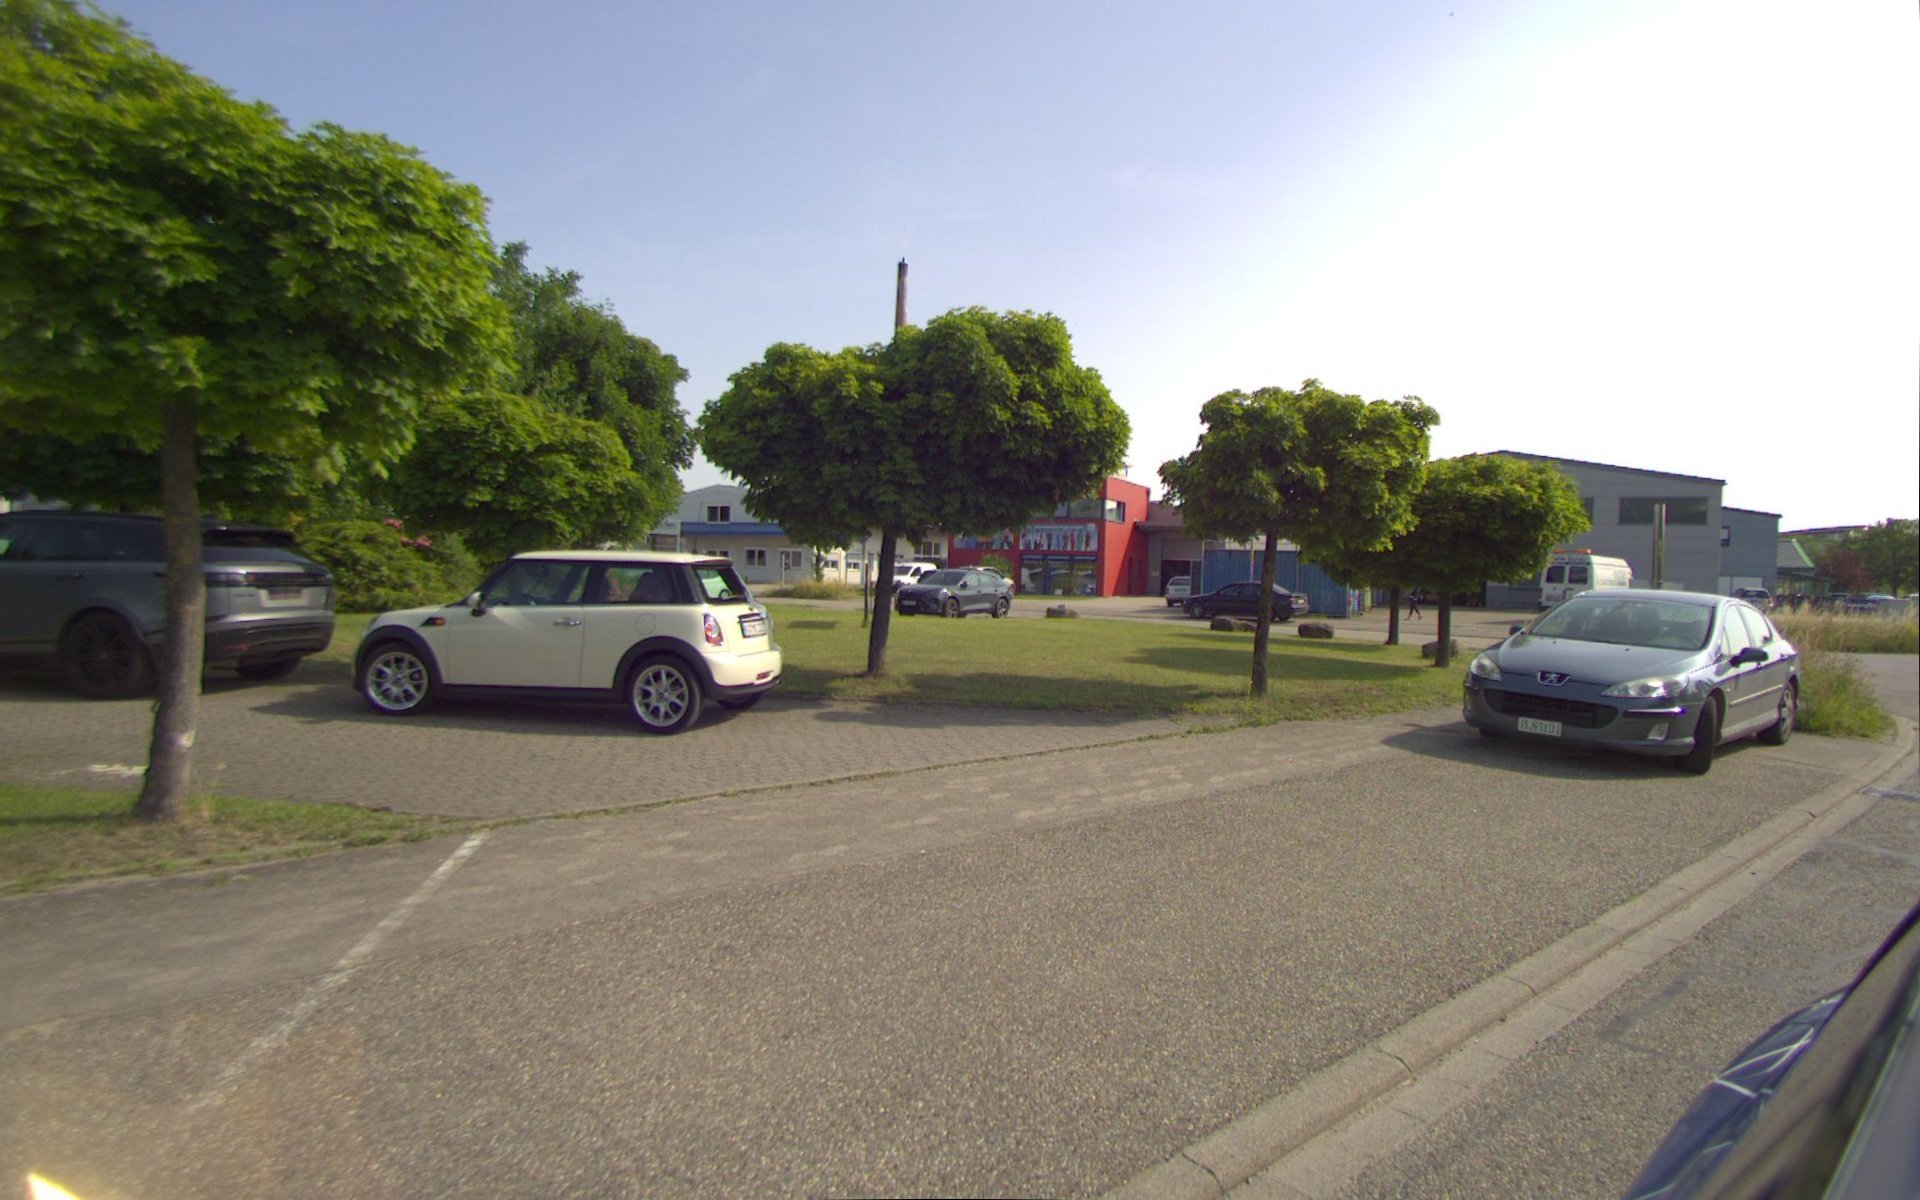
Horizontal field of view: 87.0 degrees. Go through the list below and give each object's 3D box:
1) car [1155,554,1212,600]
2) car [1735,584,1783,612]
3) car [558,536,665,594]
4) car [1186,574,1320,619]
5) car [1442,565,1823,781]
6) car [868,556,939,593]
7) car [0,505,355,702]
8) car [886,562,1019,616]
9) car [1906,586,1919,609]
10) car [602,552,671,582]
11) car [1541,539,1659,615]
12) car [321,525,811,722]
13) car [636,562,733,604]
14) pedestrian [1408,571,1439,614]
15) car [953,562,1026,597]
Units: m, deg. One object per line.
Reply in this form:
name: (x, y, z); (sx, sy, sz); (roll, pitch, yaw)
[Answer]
car: (10.793, -1.124, 48.723); (1.978, 2.038, 3.970); (2, 2, 23)
car: (48.969, -0.165, 62.091); (1.625, 1.587, 3.767); (2, 2, 29)
car: (-13.723, -1.360, 40.018); (1.673, 1.981, 3.665); (4, -1, 31)
car: (10.857, -0.169, 37.665); (4.458, 1.426, 1.783); (4, 4, 43)
car: (6.423, 0.504, 9.464); (4.346, 1.536, 1.798); (0, 3, -40)
car: (-2.955, -1.358, 53.798); (1.701, 1.819, 4.163); (3, 2, 30)
car: (-8.398, -0.051, 9.614); (4.455, 1.608, 1.685); (2, 2, 7)
car: (-0.150, -0.356, 30.368); (1.777, 1.426, 4.290); (3, 3, 37)
car: (67.192, -0.153, 69.756); (1.704, 1.591, 4.096); (2, 2, 26)
car: (-17.951, -1.829, 56.205); (3.563, 1.540, 1.813); (3, 3, 33)
car: (24.722, -0.864, 38.972); (5.773, 2.739, 1.980); (0, 2, -38)
car: (-3.320, 0.124, 8.802); (3.640, 1.397, 1.682); (2, 2, 11)
car: (-10.409, -0.692, 38.437); (1.551, 1.468, 3.480); (2, 3, 31)
pedestrian: (17.924, -0.290, 39.141); (0.733, 1.660, 0.706); (1, 1, -24)
car: (1.537, -1.040, 51.293); (1.772, 1.652, 4.419); (3, 3, 30)
